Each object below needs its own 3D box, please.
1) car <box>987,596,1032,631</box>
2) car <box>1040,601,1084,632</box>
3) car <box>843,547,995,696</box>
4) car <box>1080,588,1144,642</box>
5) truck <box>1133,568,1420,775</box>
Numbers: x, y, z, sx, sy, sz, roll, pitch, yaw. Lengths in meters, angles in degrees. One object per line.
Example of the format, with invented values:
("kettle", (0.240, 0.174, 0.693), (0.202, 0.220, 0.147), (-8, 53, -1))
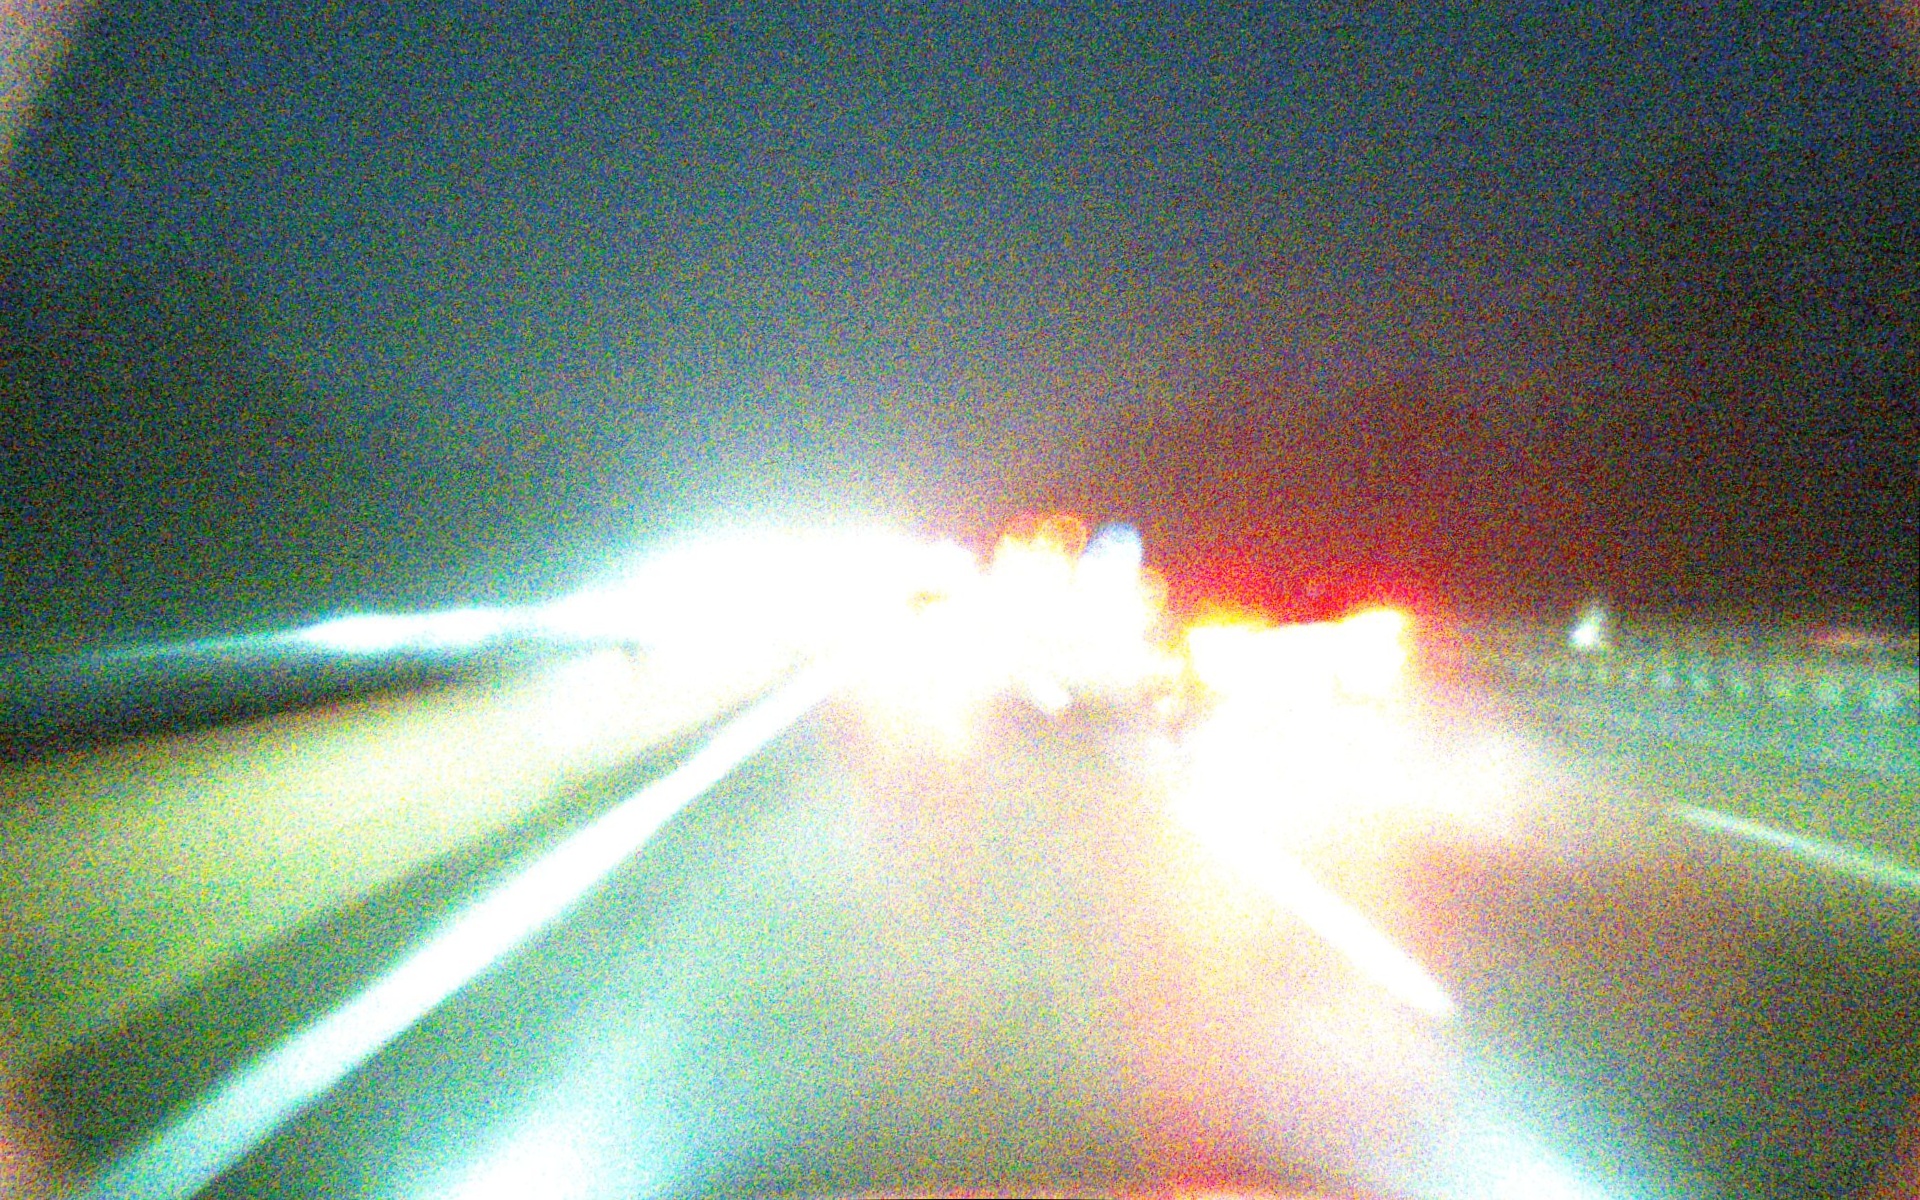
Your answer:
("car", (2.056, 0.539, 68.925), (1.580, 1.437, 3.790), (0, 0, -3))
("car", (5.510, 0.878, 90.067), (1.856, 1.512, 4.959), (1, 1, -3))
("car", (-0.888, 0.352, 32.661), (2.656, 2.578, 5.827), (-2, 1, -3))
("car", (6.142, 0.577, 67.534), (2.005, 2.008, 5.406), (-2, 1, -1))
("truck", (2.928, 0.607, 16.374), (1.806, 1.726, 4.853), (1, 0, -1))
